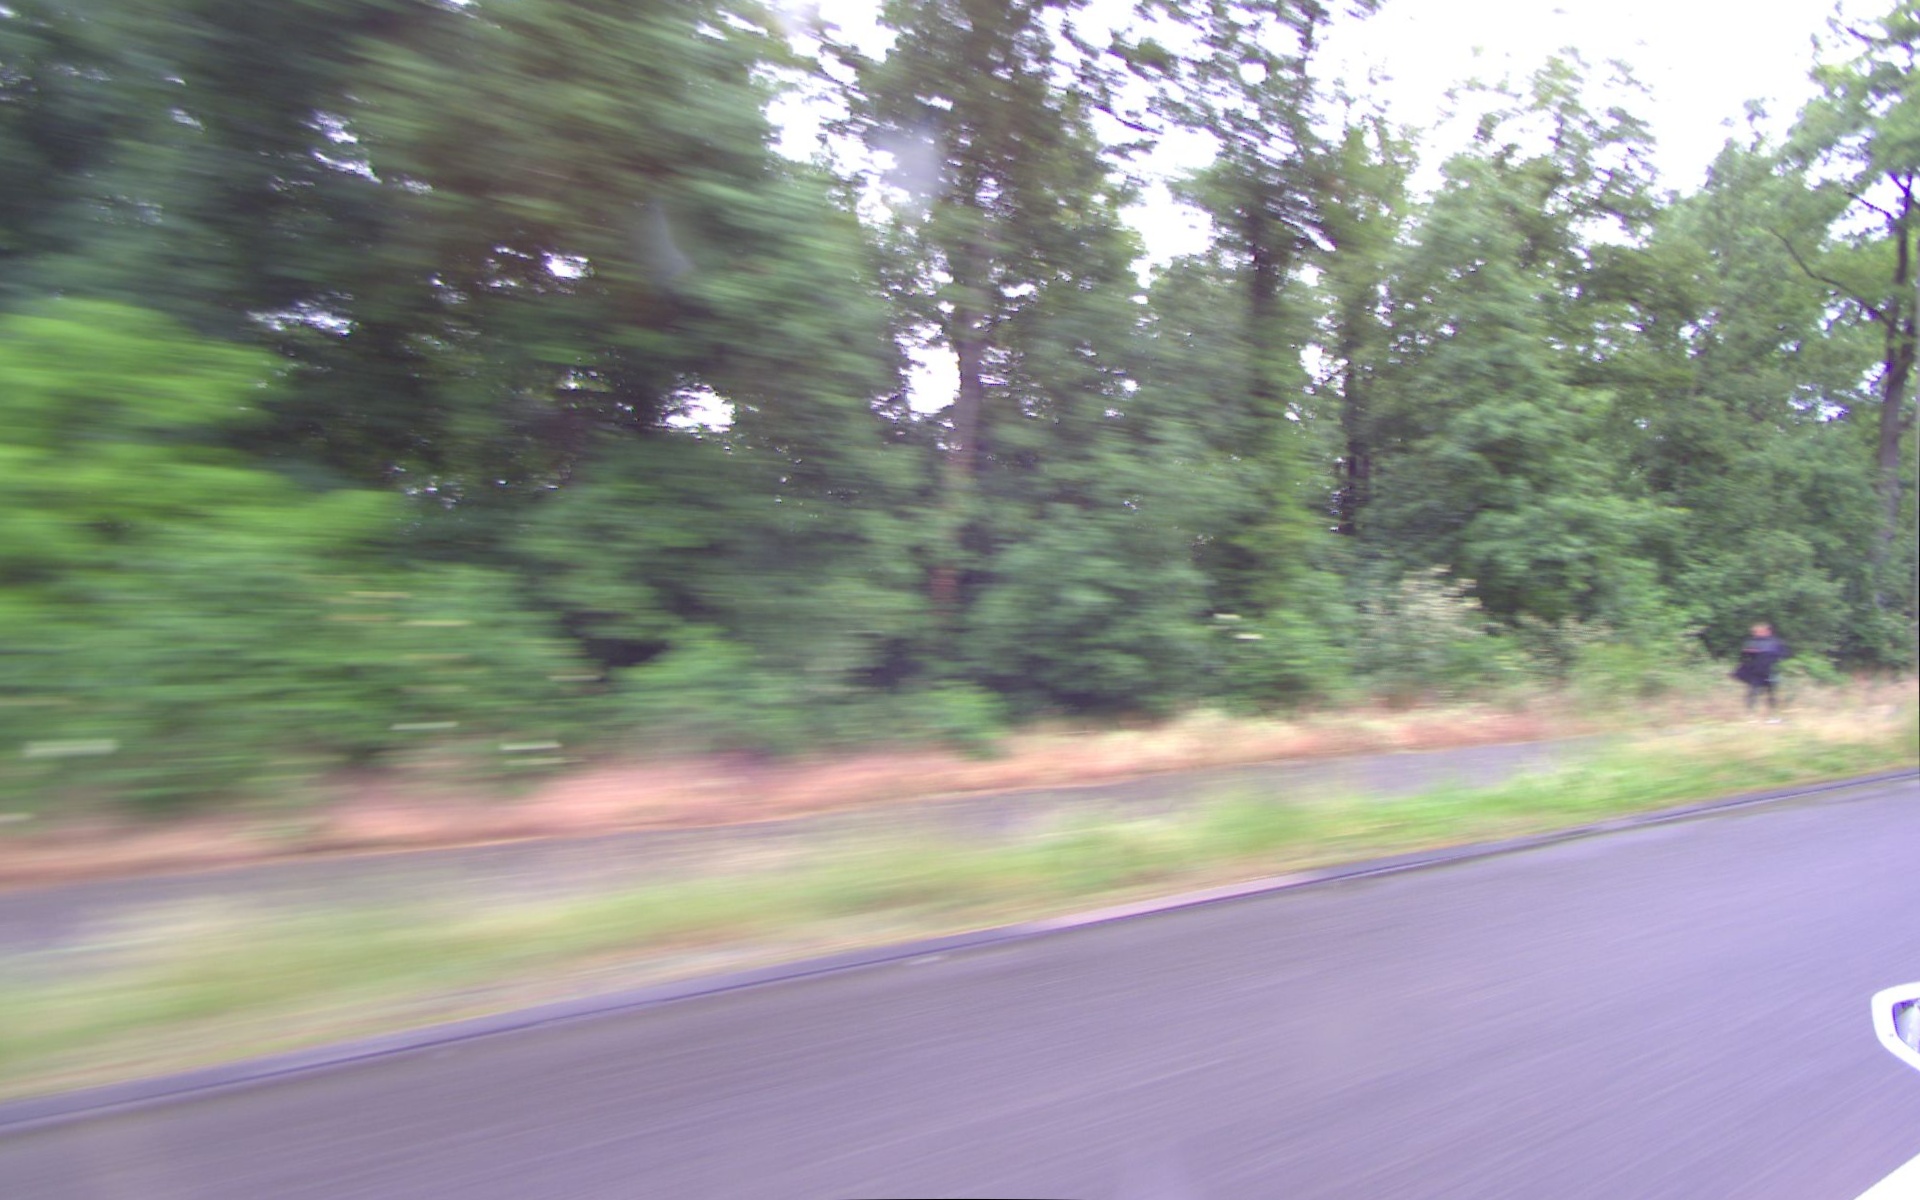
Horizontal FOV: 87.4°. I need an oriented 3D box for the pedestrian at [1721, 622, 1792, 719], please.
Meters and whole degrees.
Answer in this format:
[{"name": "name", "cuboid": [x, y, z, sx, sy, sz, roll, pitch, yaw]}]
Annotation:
[{"name": "pedestrian", "cuboid": [13.995, 1.217, 17.656, 0.724, 1.629, 0.777, 1, -1, -31]}]
